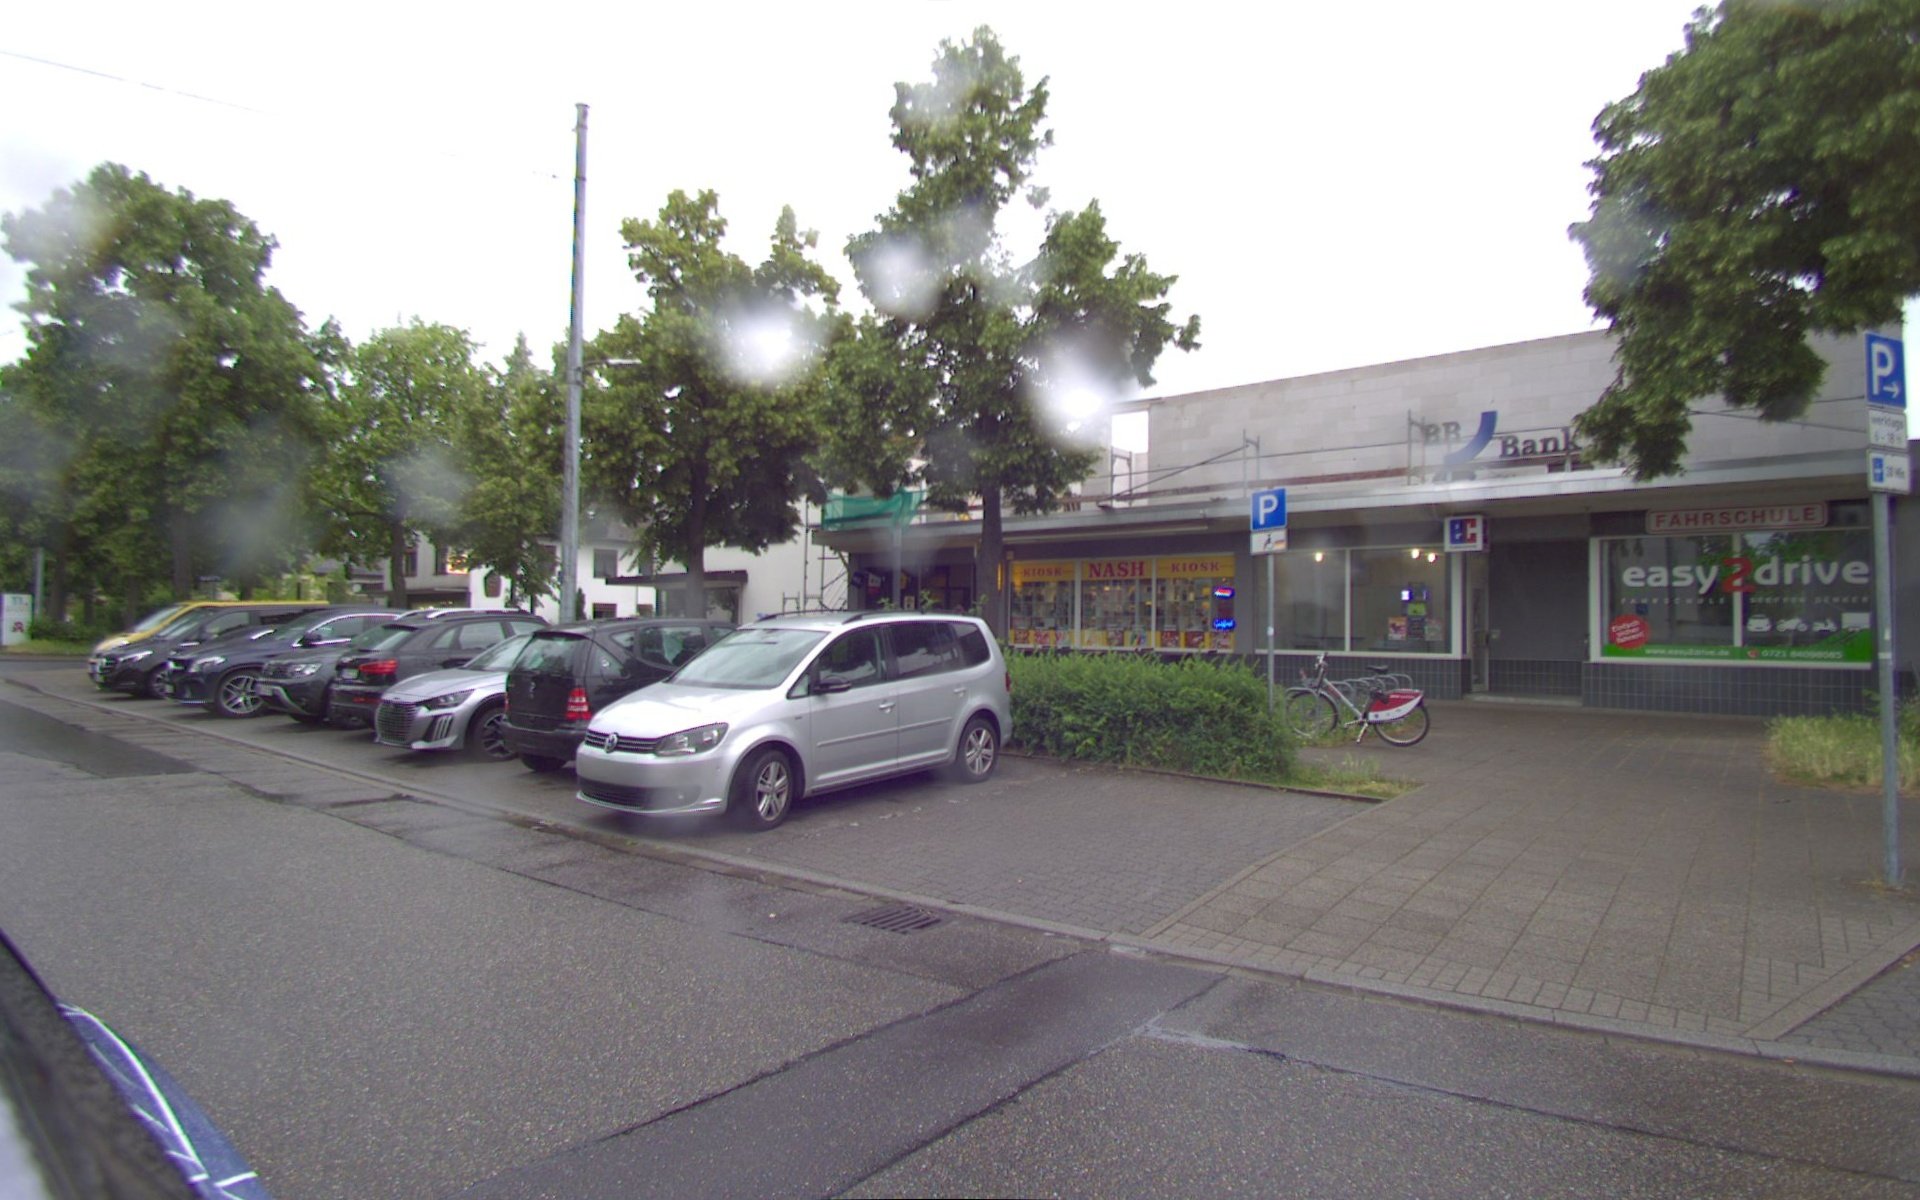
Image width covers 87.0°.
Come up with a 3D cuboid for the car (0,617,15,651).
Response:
[{"bbox_3d":[-49.666,1.723,50.121,1.997,1.698,3.950,-1,0,37],"label":"car"}]

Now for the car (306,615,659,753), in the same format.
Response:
[{"bbox_3d":[-6.574,1.044,14.356,1.713,1.607,4.231,-1,0,38],"label":"car"}]

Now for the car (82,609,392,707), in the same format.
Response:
[{"bbox_3d":[-15.152,1.111,21.519,1.713,1.813,5.114,-1,0,38],"label":"car"}]

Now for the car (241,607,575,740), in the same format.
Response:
[{"bbox_3d":[-8.342,0.998,15.637,1.713,1.740,4.231,-1,0,38],"label":"car"}]

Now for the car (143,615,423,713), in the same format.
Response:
[{"bbox_3d":[-13.036,1.142,19.729,1.713,1.639,4.231,-1,0,38],"label":"car"}]

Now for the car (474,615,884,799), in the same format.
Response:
[{"bbox_3d":[-2.860,0.985,11.153,1.633,1.577,4.231,-1,0,38],"label":"car"}]

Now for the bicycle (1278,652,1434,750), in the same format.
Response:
[{"bbox_3d":[4.809,1.207,12.341,1.739,1.115,0.316,-1,0,25],"label":"bicycle"}]

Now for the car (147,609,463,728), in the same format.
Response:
[{"bbox_3d":[-10.999,1.045,17.271,1.713,1.740,4.231,-1,0,38],"label":"car"}]

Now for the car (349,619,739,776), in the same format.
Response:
[{"bbox_3d":[-4.960,1.040,12.602,1.713,1.544,4.231,-1,0,38],"label":"car"}]

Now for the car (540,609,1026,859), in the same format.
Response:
[{"bbox_3d":[-1.303,0.924,9.008,1.713,1.647,4.231,-1,0,38],"label":"car"}]

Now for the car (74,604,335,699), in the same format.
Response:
[{"bbox_3d":[-17.428,1.092,23.565,1.713,1.973,4.600,-1,-1,38],"label":"car"}]
